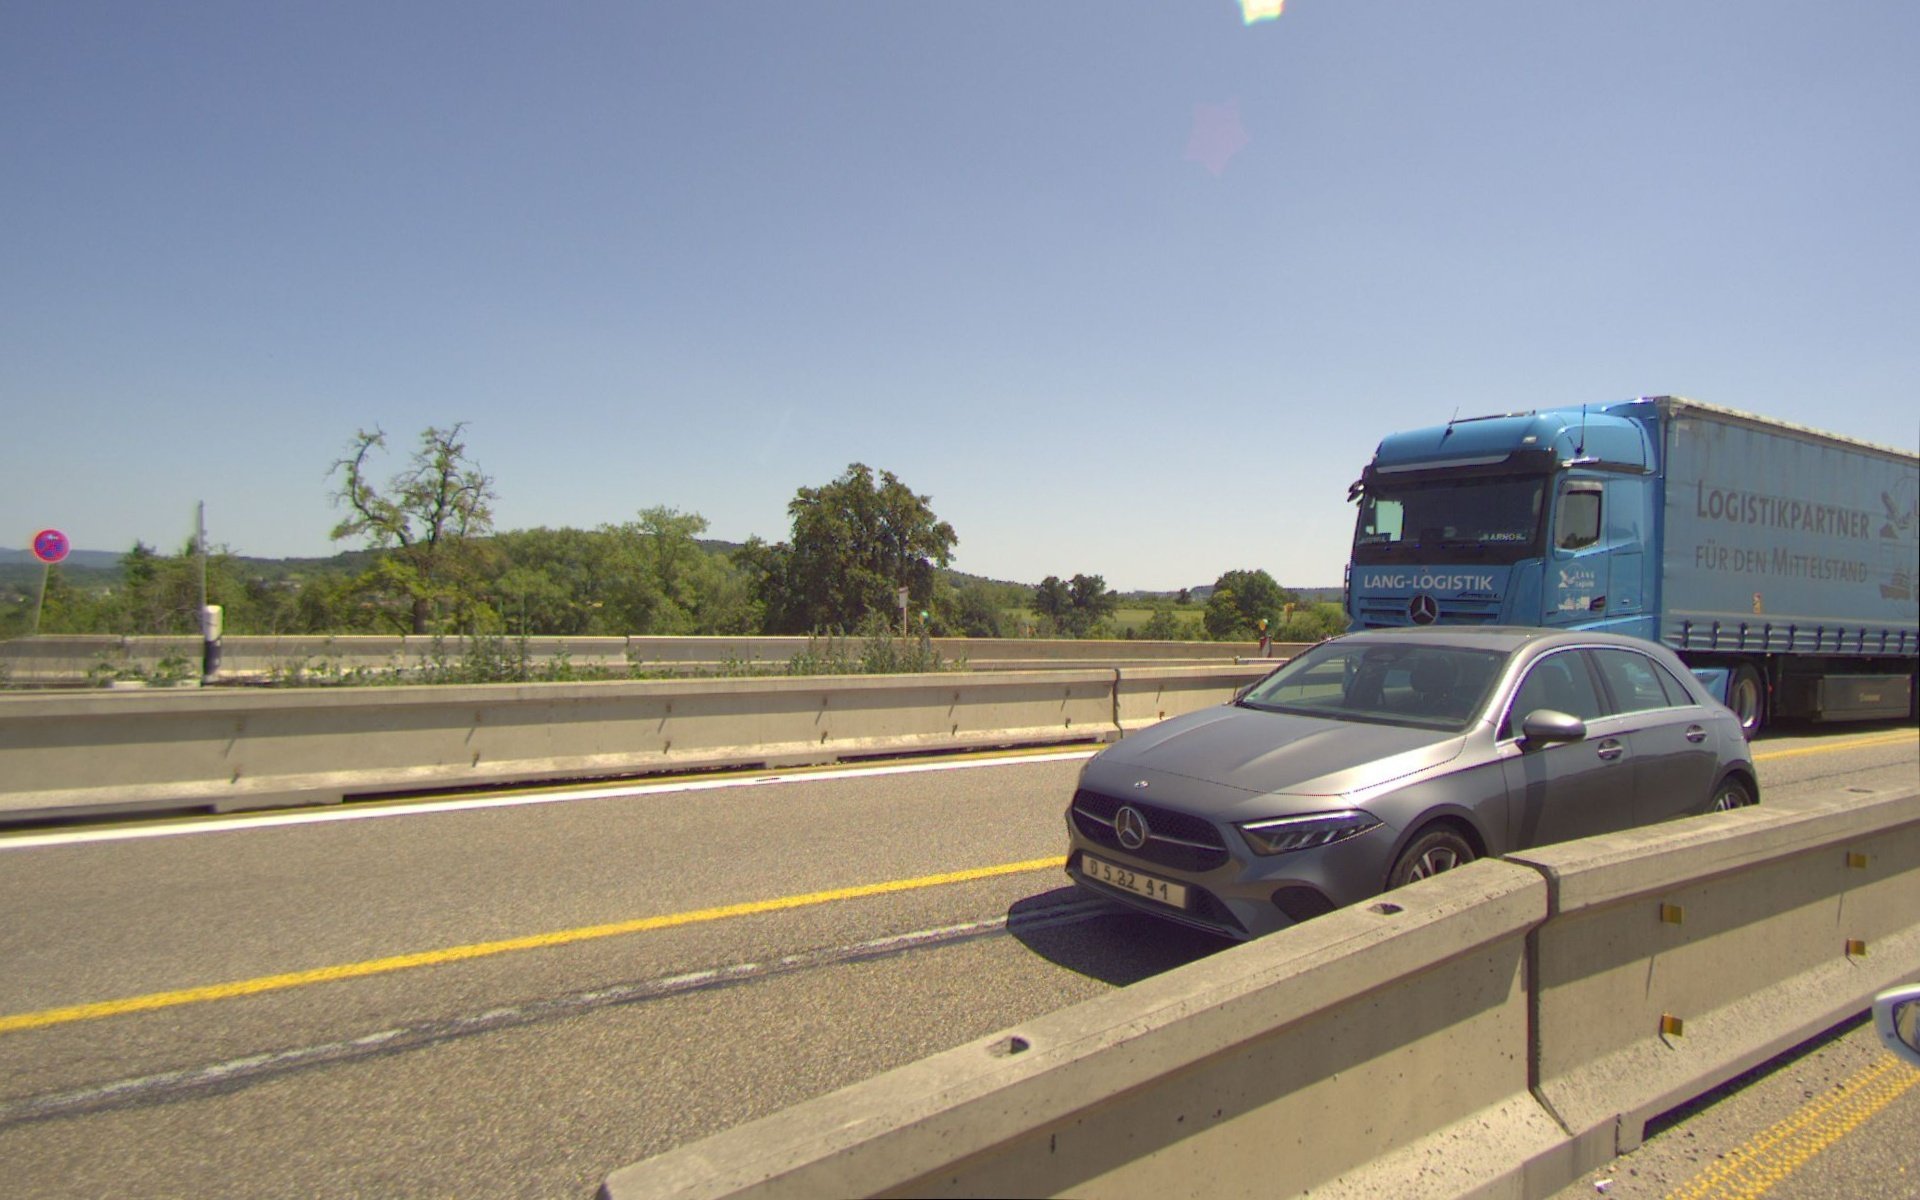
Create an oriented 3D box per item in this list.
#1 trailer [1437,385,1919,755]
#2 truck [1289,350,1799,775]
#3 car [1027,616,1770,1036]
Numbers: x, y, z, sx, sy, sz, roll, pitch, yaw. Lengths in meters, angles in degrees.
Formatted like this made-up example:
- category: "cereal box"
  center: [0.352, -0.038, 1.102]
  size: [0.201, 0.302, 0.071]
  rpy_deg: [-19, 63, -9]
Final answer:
- category: "trailer"
  center: [13.352, -0.264, 15.963]
  size: [13.743, 4.184, 2.902]
  rpy_deg: [1, 0, -29]
- category: "truck"
  center: [7.420, -0.338, 12.666]
  size: [6.065, 4.184, 2.901]
  rpy_deg: [1, 0, -30]
- category: "car"
  center: [2.460, 0.825, 5.277]
  size: [4.079, 1.460, 1.580]
  rpy_deg: [1, -1, -32]
